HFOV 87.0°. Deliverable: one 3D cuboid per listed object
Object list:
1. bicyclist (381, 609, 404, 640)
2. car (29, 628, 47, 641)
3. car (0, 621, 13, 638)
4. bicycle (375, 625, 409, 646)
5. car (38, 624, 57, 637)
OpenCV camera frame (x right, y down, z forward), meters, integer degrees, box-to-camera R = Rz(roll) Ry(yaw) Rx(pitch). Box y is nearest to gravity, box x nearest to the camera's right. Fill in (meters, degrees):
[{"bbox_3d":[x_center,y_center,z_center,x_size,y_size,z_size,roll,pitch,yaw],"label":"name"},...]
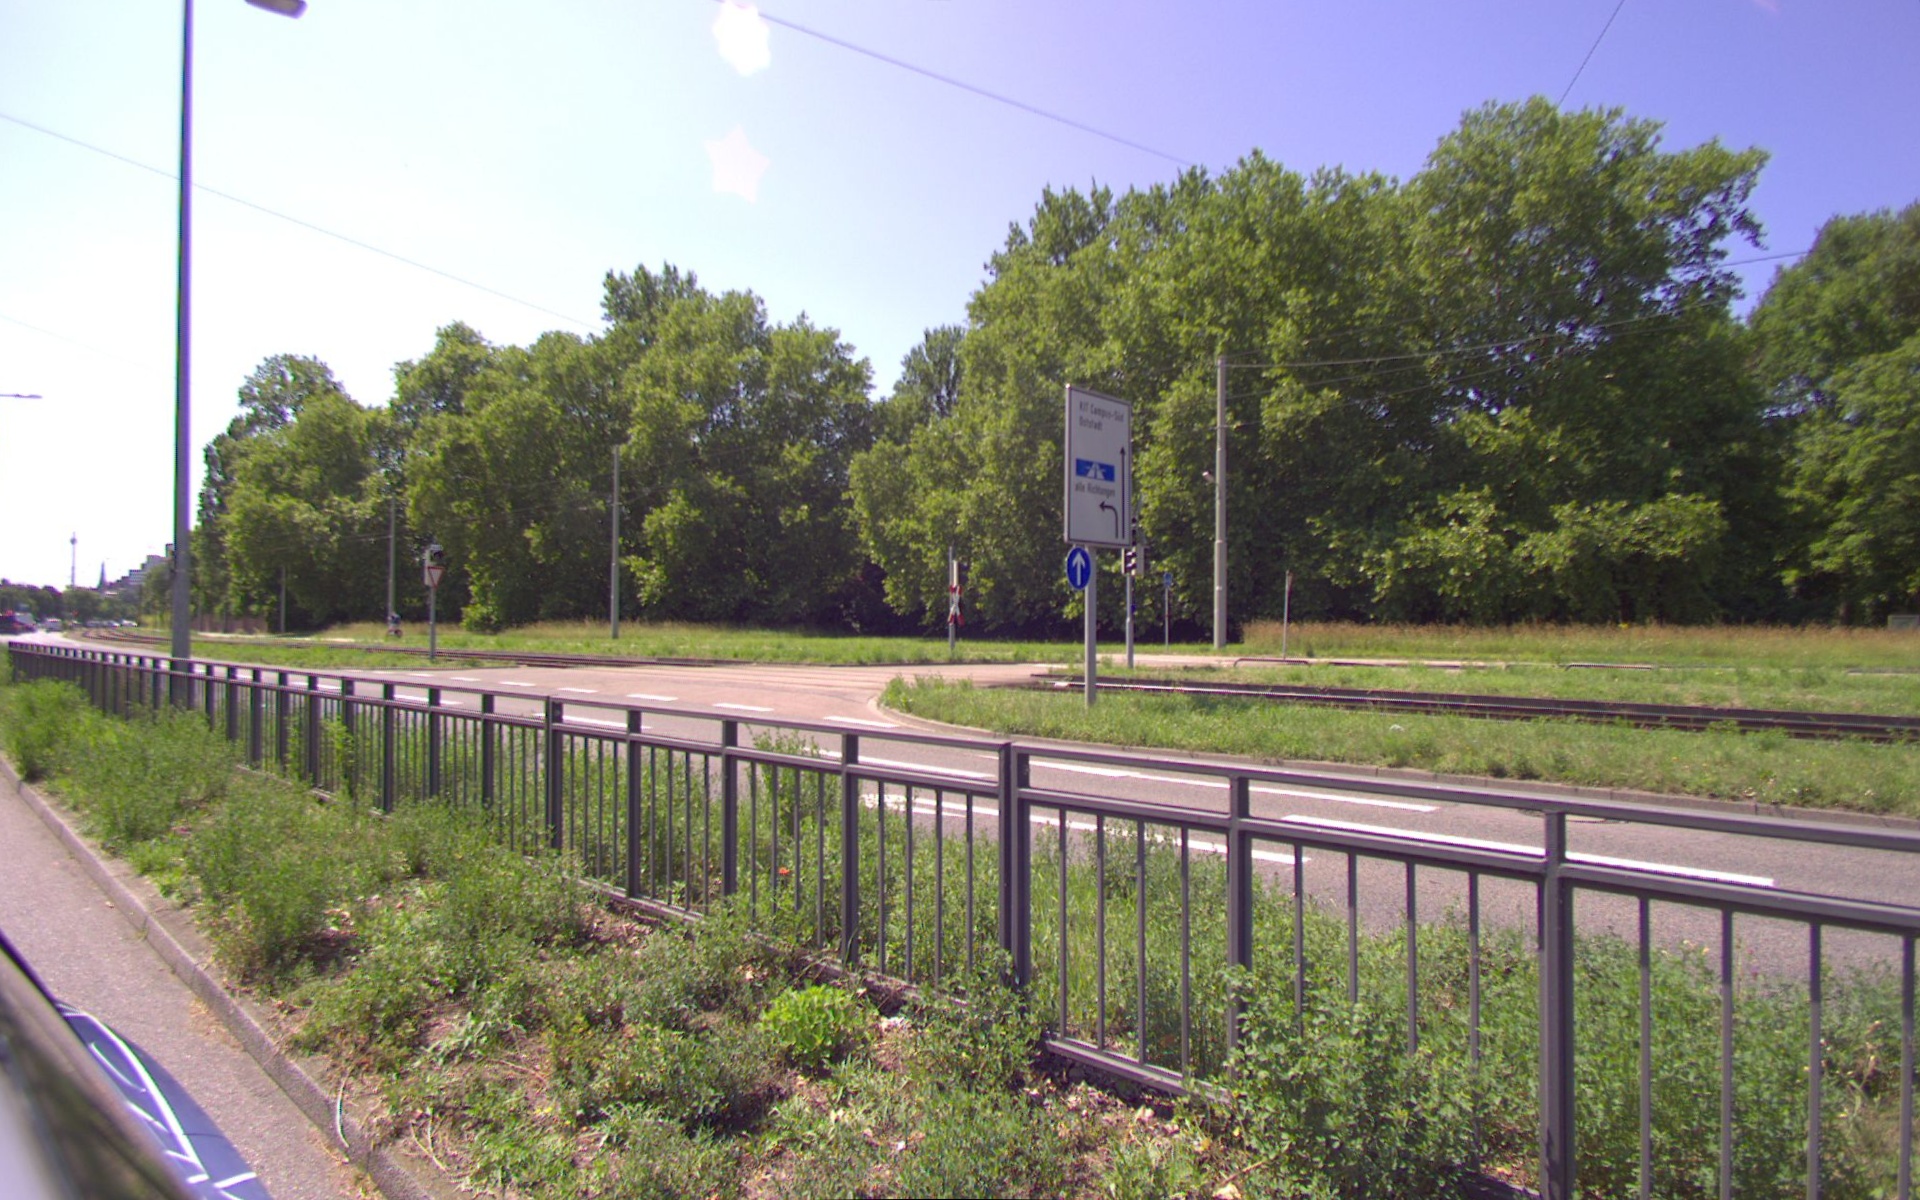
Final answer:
[{"bbox_3d":[-32.995,1.421,58.853,1.117,1.820,0.851,-1,-2,41],"label":"bicyclist"},{"bbox_3d":[-141.856,5.261,155.712,1.970,1.871,4.003,1,-2,-44],"label":"car"},{"bbox_3d":[-106.221,3.289,112.095,1.970,1.871,4.004,1,-2,-43],"label":"car"},{"bbox_3d":[-33.046,2.036,58.856,2.785,1.171,0.851,-1,-2,41],"label":"bicycle"},{"bbox_3d":[-136.234,4.522,151.066,1.970,1.871,4.003,1,-2,-44],"label":"car"}]
